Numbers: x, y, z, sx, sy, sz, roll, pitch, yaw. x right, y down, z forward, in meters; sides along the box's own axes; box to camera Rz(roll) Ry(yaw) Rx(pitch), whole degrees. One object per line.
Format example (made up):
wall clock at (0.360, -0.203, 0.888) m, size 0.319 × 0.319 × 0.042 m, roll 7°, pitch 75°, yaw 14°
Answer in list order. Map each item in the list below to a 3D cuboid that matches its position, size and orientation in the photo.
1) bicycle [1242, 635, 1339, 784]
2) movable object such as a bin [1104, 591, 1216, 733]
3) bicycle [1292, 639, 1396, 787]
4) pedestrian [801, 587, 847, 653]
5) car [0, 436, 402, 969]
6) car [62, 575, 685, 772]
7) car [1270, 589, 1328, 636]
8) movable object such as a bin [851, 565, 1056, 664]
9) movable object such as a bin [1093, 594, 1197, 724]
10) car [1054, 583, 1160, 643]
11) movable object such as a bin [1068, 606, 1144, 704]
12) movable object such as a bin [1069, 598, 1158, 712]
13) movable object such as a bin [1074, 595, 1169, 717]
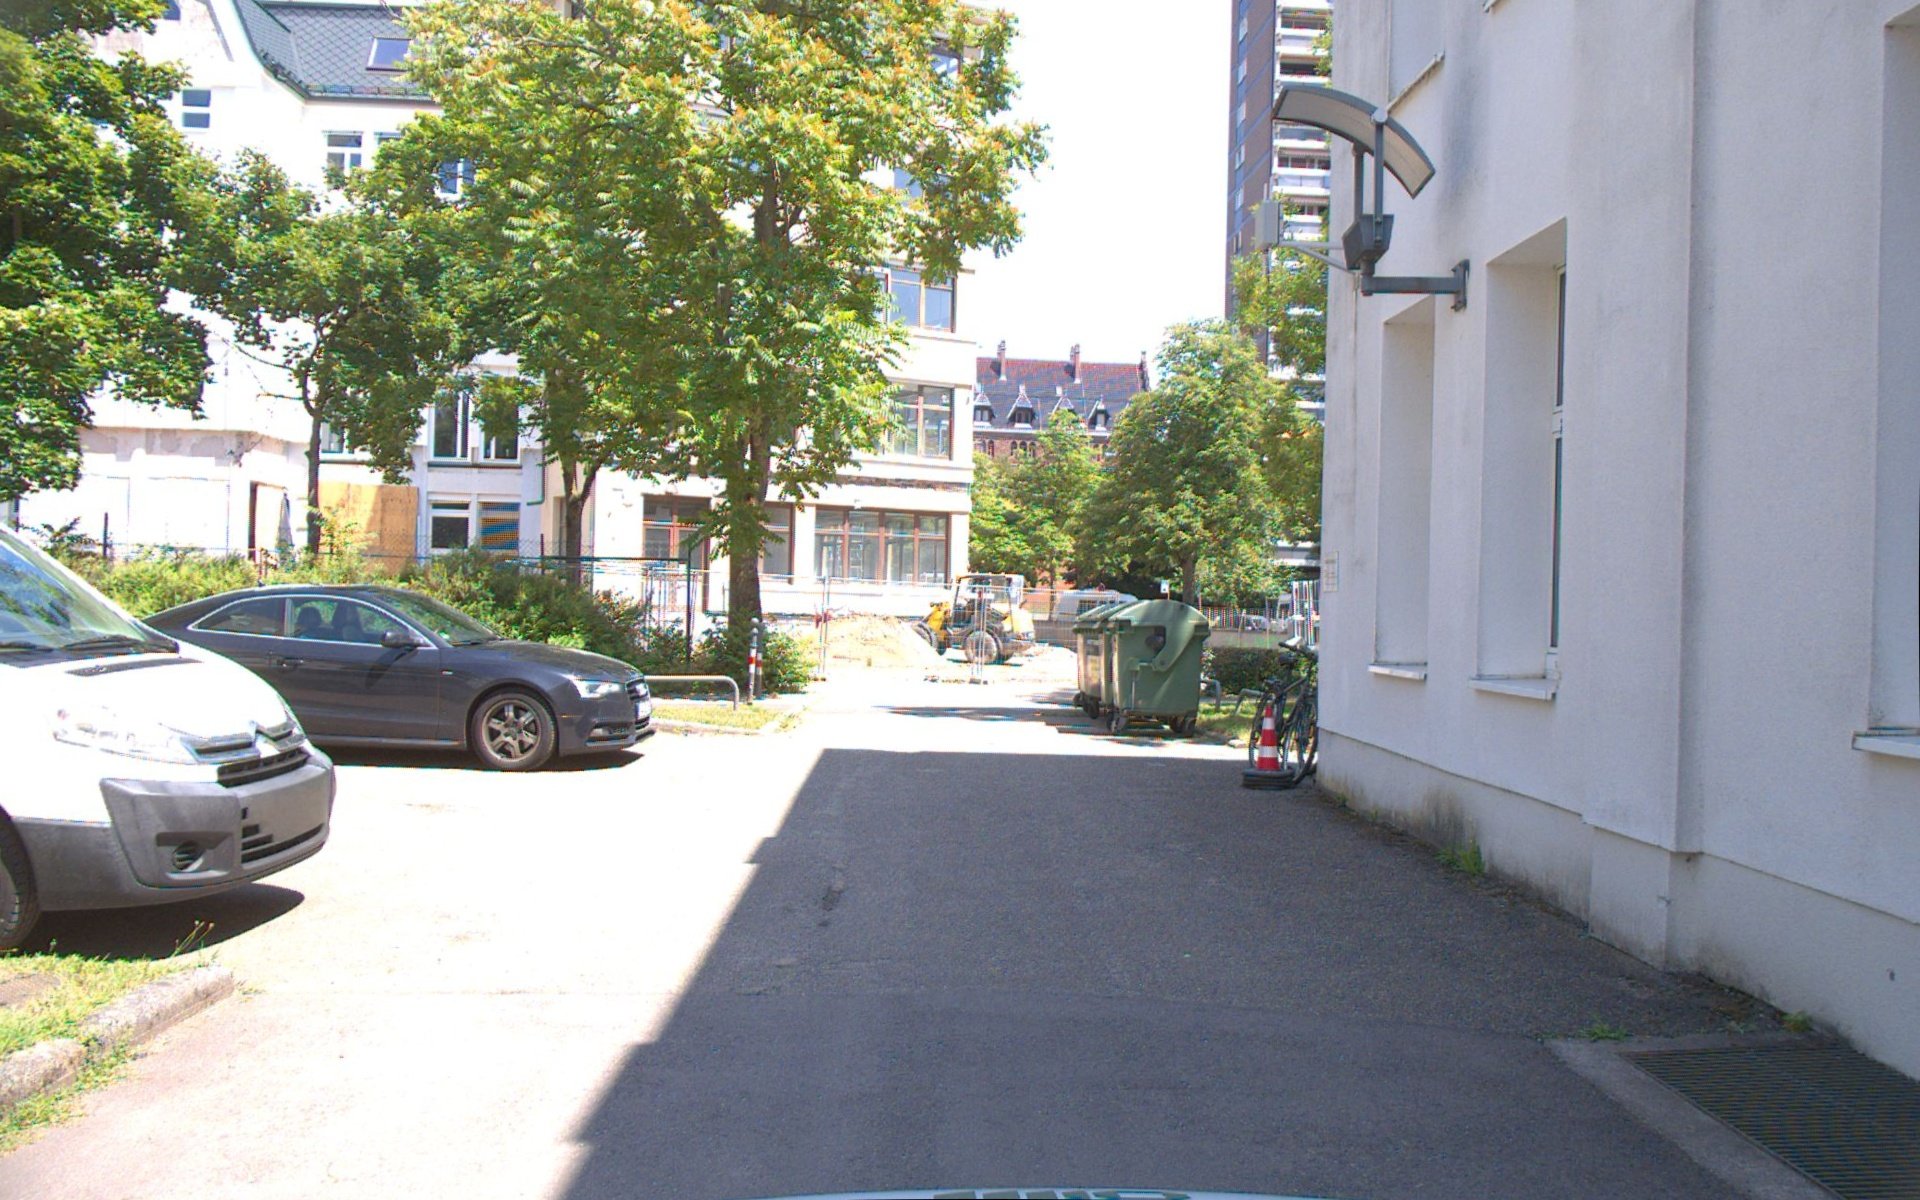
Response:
bicycle at (2.710, 0.865, 13.692) m, size 0.397 × 1.121 × 1.826 m, roll 1°, pitch -1°, yaw -1°
movable object such as a bin at (2.193, 0.668, 18.308) m, size 1.053 × 1.483 × 1.377 m, roll 1°, pitch -1°, yaw 0°
bicycle at (3.167, 0.899, 13.756) m, size 0.397 × 1.121 × 1.826 m, roll 1°, pitch -1°, yaw -1°
pedestrian at (-3.930, 0.567, 47.740) m, size 0.964 × 1.879 × 0.916 m, roll 1°, pitch -1°, yaw 27°
car at (-5.139, 0.341, 7.059) m, size 4.747 × 1.916 × 2.067 m, roll 1°, pitch -1°, yaw 1°
car at (-4.629, 0.568, 13.574) m, size 4.338 × 1.404 × 2.024 m, roll 1°, pitch -1°, yaw 1°
car at (17.210, 0.662, 83.743) m, size 2.139 × 2.298 × 4.869 m, roll 1°, pitch -1°, yaw 20°
movable object such as a bin at (-0.199, 0.404, 47.202) m, size 5.299 × 2.507 × 2.365 m, roll 3°, pitch 0°, yaw 27°
movable object such as a bin at (2.187, 0.687, 19.751) m, size 1.053 × 1.483 × 1.377 m, roll 1°, pitch -1°, yaw 0°
car at (6.299, 0.547, 71.513) m, size 1.972 × 2.459 × 5.190 m, roll 2°, pitch -1°, yaw -30°
movable object such as a bin at (2.299, 0.860, 26.154) m, size 1.053 × 1.483 × 1.377 m, roll 1°, pitch -1°, yaw 0°
movable object such as a bin at (2.082, 0.736, 22.643) m, size 1.053 × 1.483 × 1.377 m, roll 1°, pitch -1°, yaw 0°
movable object such as a bin at (2.053, 0.703, 21.221) m, size 1.053 × 1.483 × 1.377 m, roll 1°, pitch -1°, yaw 0°
